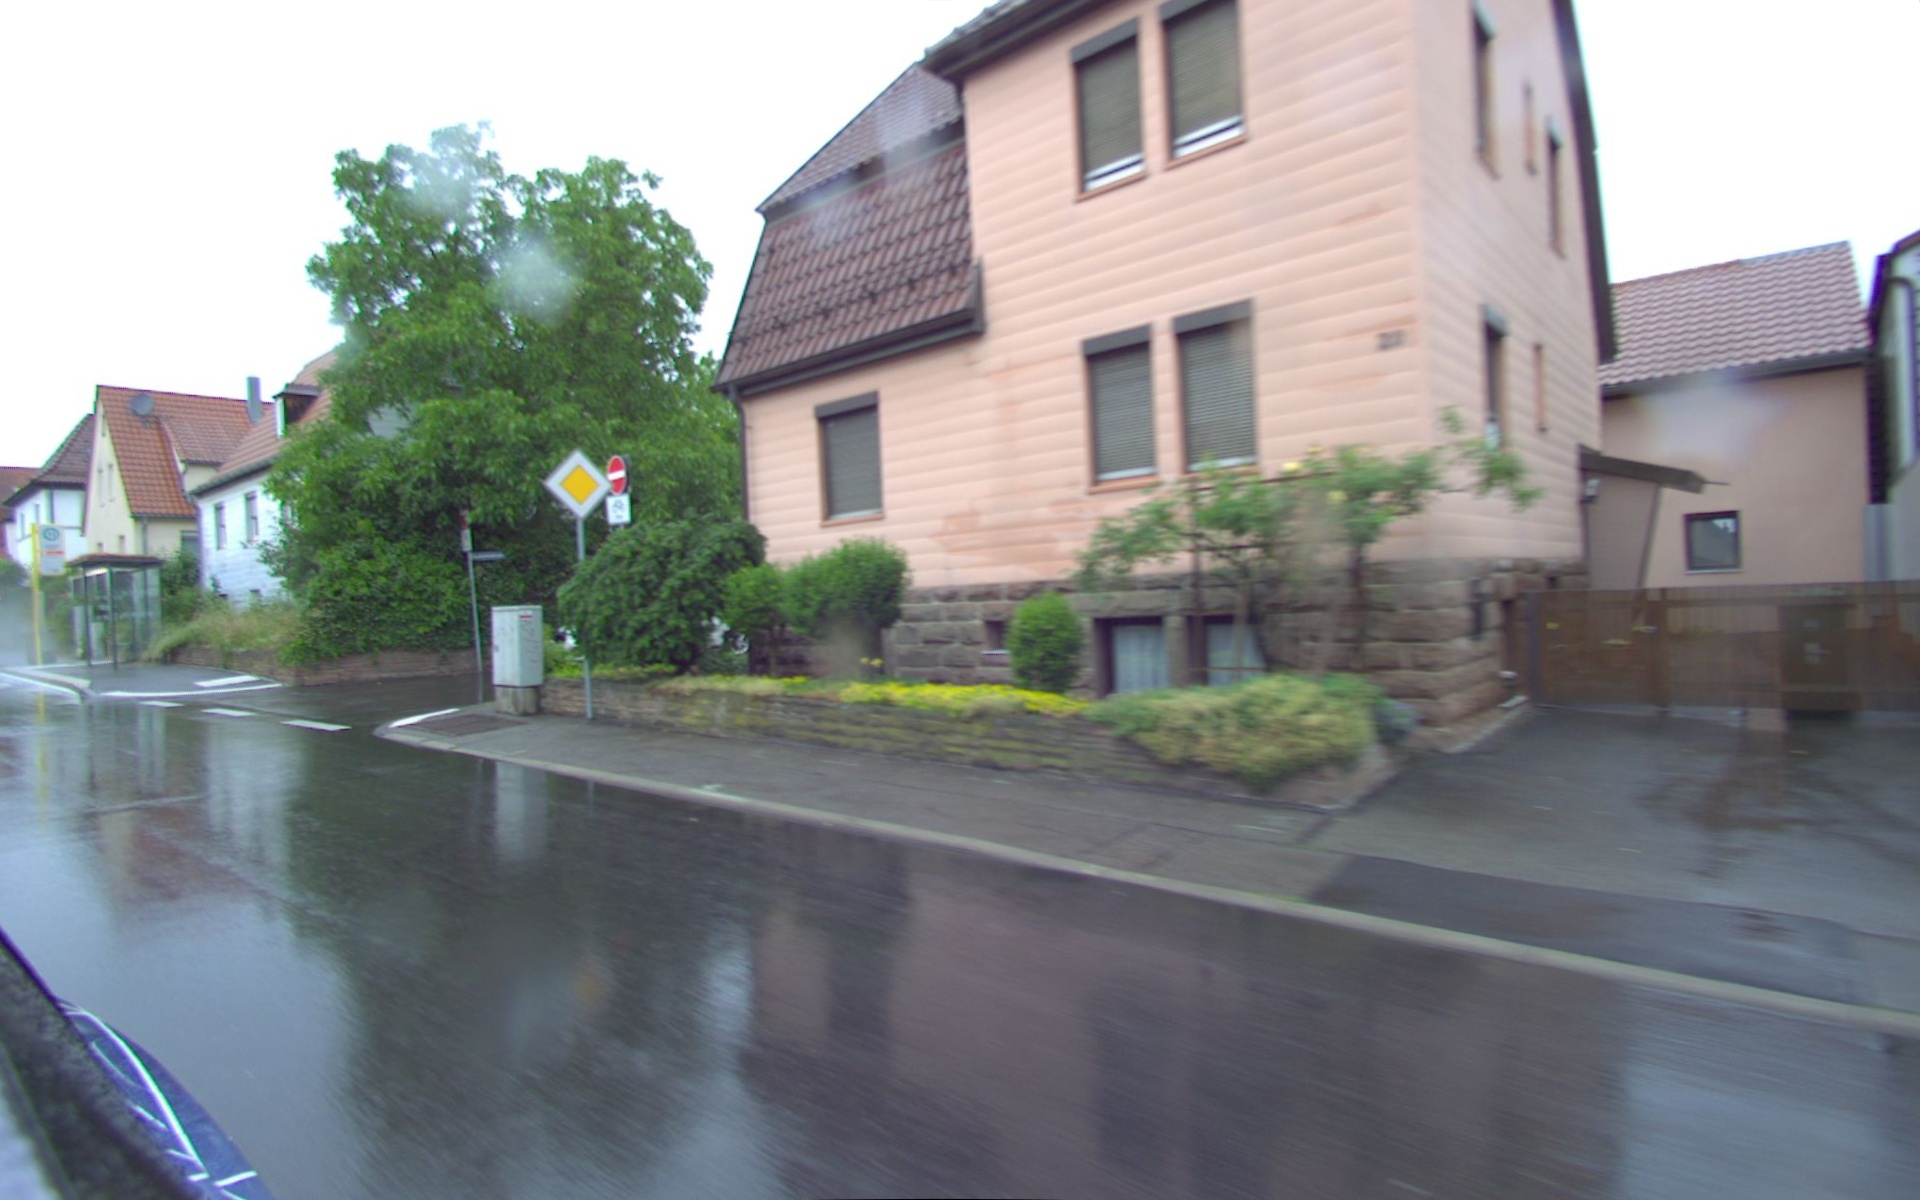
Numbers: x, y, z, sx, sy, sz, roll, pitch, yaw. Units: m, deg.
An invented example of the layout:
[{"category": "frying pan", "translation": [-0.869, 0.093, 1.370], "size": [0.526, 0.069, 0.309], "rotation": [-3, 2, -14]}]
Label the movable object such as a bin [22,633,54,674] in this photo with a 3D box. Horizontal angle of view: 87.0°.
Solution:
[{"category": "movable object such as a bin", "translation": [-25.885, 1.487, 28.408], "size": [0.527, 1.090, 0.547], "rotation": [-2, 3, 42]}]

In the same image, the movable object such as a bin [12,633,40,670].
[{"category": "movable object such as a bin", "translation": [-25.604, 1.407, 27.736], "size": [0.454, 0.946, 0.463], "rotation": [-4, 2, 42]}]

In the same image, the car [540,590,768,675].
[{"category": "car", "translation": [-6.308, 0.614, 21.101], "size": [4.172, 1.429, 1.721], "rotation": [-3, 1, -37]}]
